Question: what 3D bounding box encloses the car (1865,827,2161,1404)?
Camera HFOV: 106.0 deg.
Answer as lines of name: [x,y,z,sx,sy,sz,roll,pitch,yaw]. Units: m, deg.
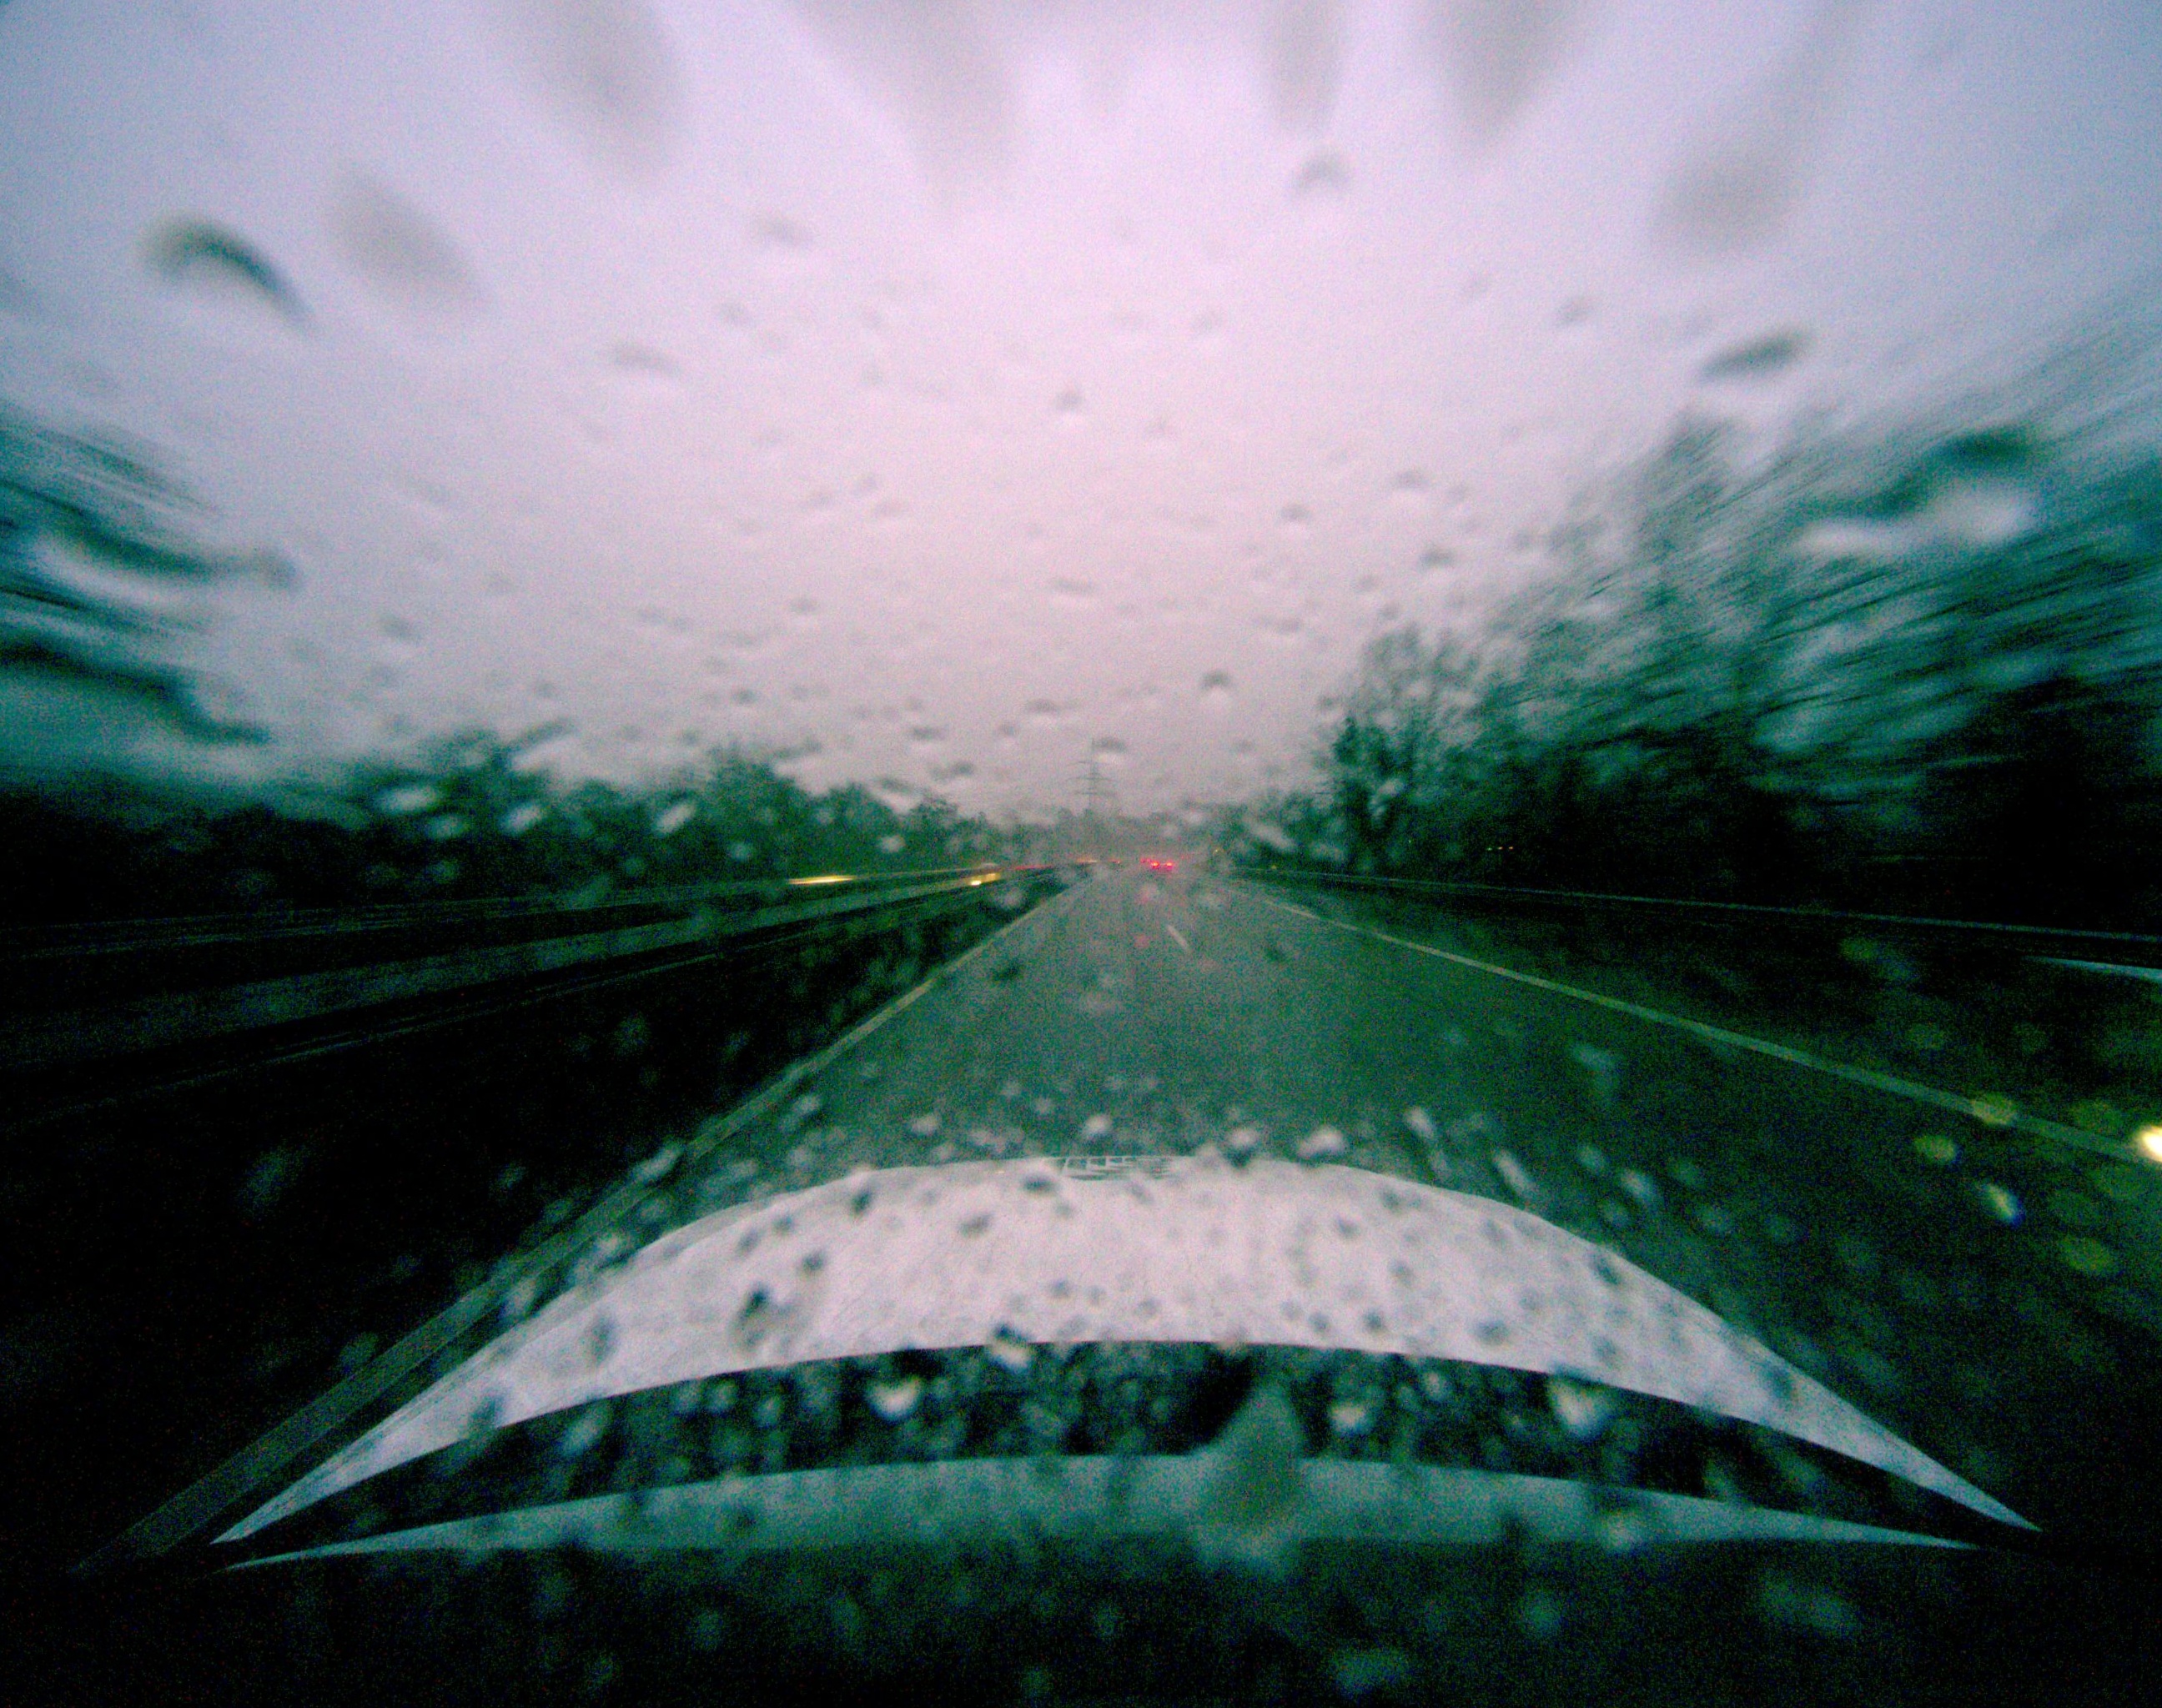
car: [3.679,0.673,0.916,1.791,1.503,4.001,-1,0,1]
